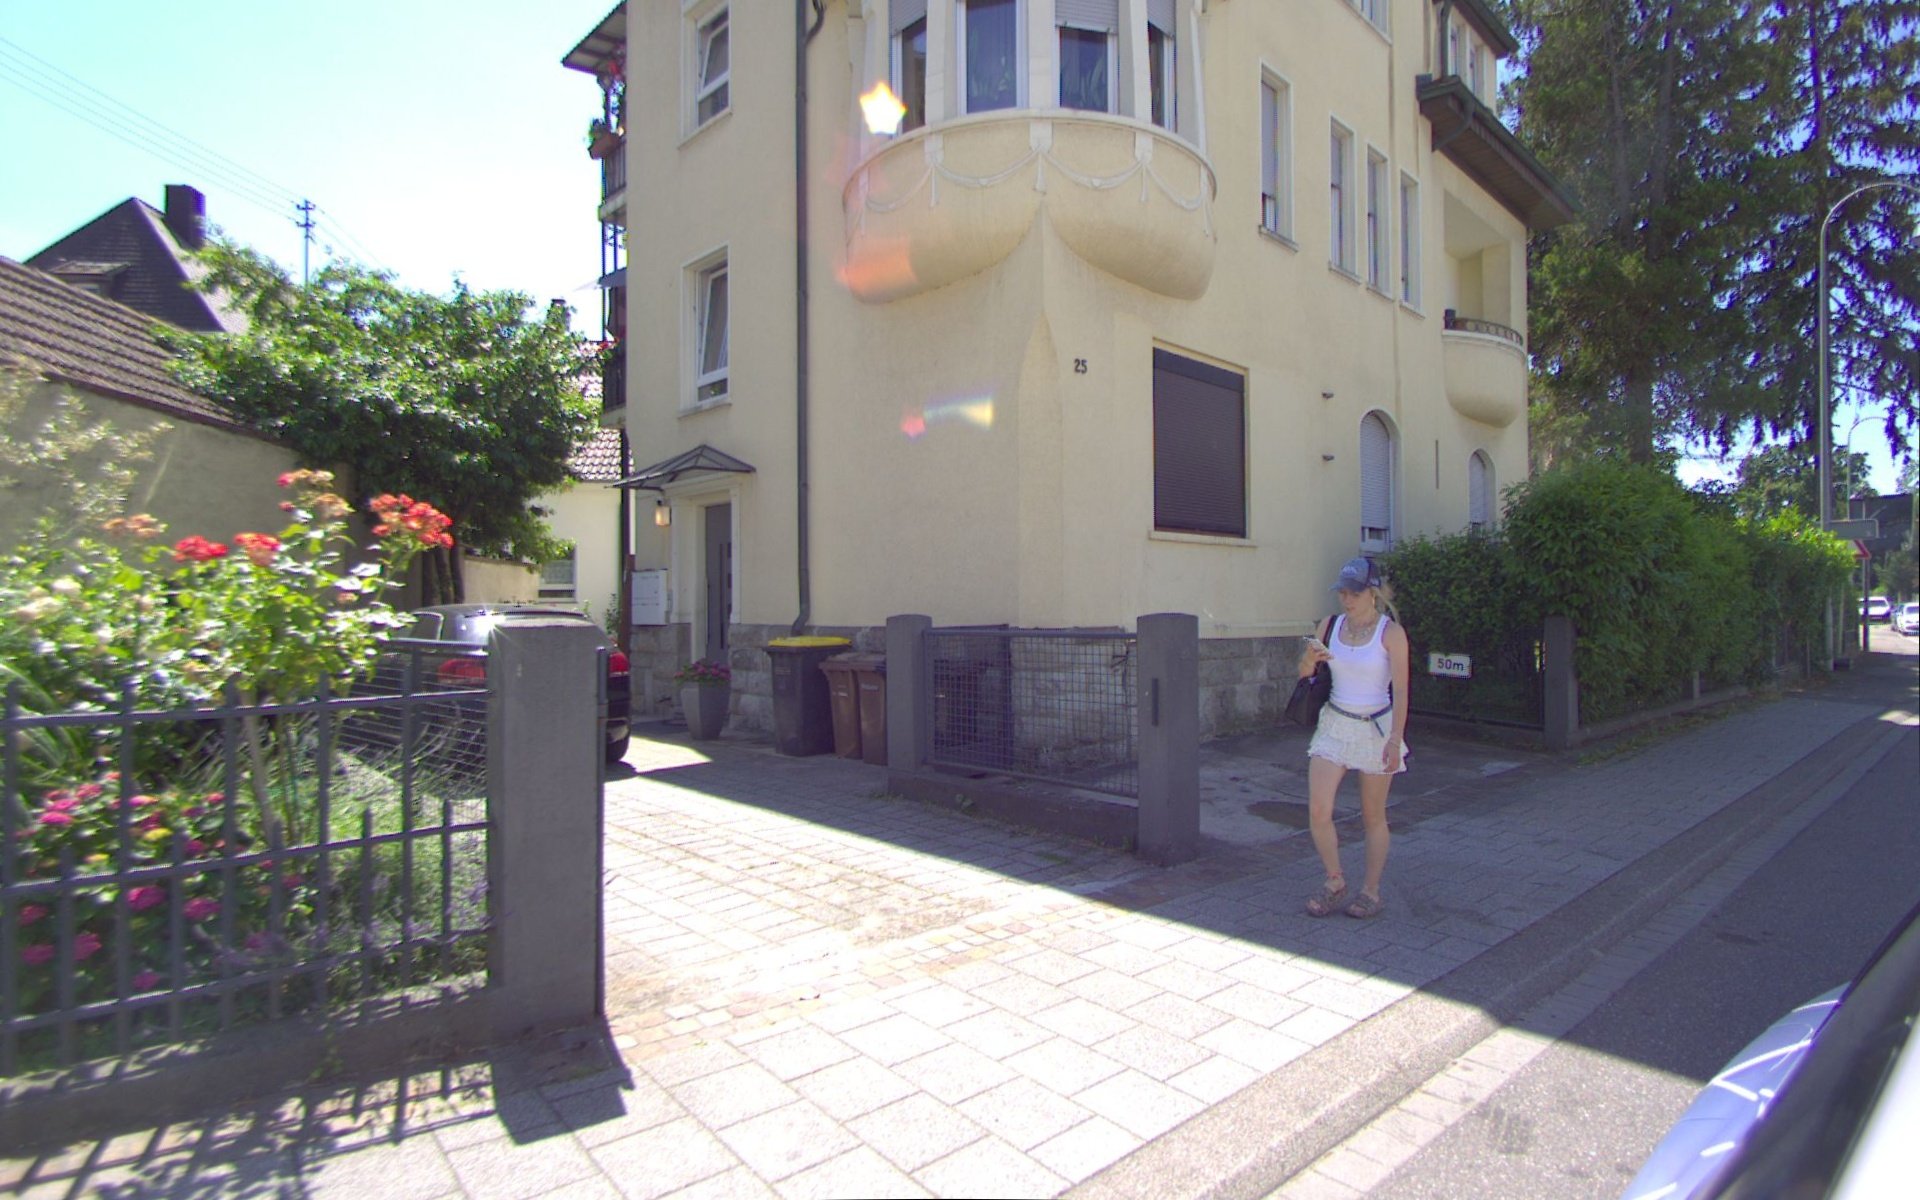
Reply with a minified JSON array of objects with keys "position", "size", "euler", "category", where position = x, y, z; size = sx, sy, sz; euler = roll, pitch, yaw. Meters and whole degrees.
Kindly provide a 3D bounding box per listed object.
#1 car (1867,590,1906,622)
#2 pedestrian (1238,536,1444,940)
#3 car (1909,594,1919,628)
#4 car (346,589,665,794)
[{"position":[59.186,0.357,64.601],"size":[1.684,1.801,3.879],"euler":[-2,1,44],"category":"car"},{"position":[1.755,0.561,4.656],"size":[0.759,1.664,0.623],"euler":[0,1,-45],"category":"pedestrian"},{"position":[43.746,0.450,45.216],"size":[1.682,1.473,3.685],"euler":[-2,-2,40],"category":"car"},{"position":[-4.254,0.662,9.247],"size":[1.738,1.505,3.330],"euler":[0,0,-42],"category":"car"}]
